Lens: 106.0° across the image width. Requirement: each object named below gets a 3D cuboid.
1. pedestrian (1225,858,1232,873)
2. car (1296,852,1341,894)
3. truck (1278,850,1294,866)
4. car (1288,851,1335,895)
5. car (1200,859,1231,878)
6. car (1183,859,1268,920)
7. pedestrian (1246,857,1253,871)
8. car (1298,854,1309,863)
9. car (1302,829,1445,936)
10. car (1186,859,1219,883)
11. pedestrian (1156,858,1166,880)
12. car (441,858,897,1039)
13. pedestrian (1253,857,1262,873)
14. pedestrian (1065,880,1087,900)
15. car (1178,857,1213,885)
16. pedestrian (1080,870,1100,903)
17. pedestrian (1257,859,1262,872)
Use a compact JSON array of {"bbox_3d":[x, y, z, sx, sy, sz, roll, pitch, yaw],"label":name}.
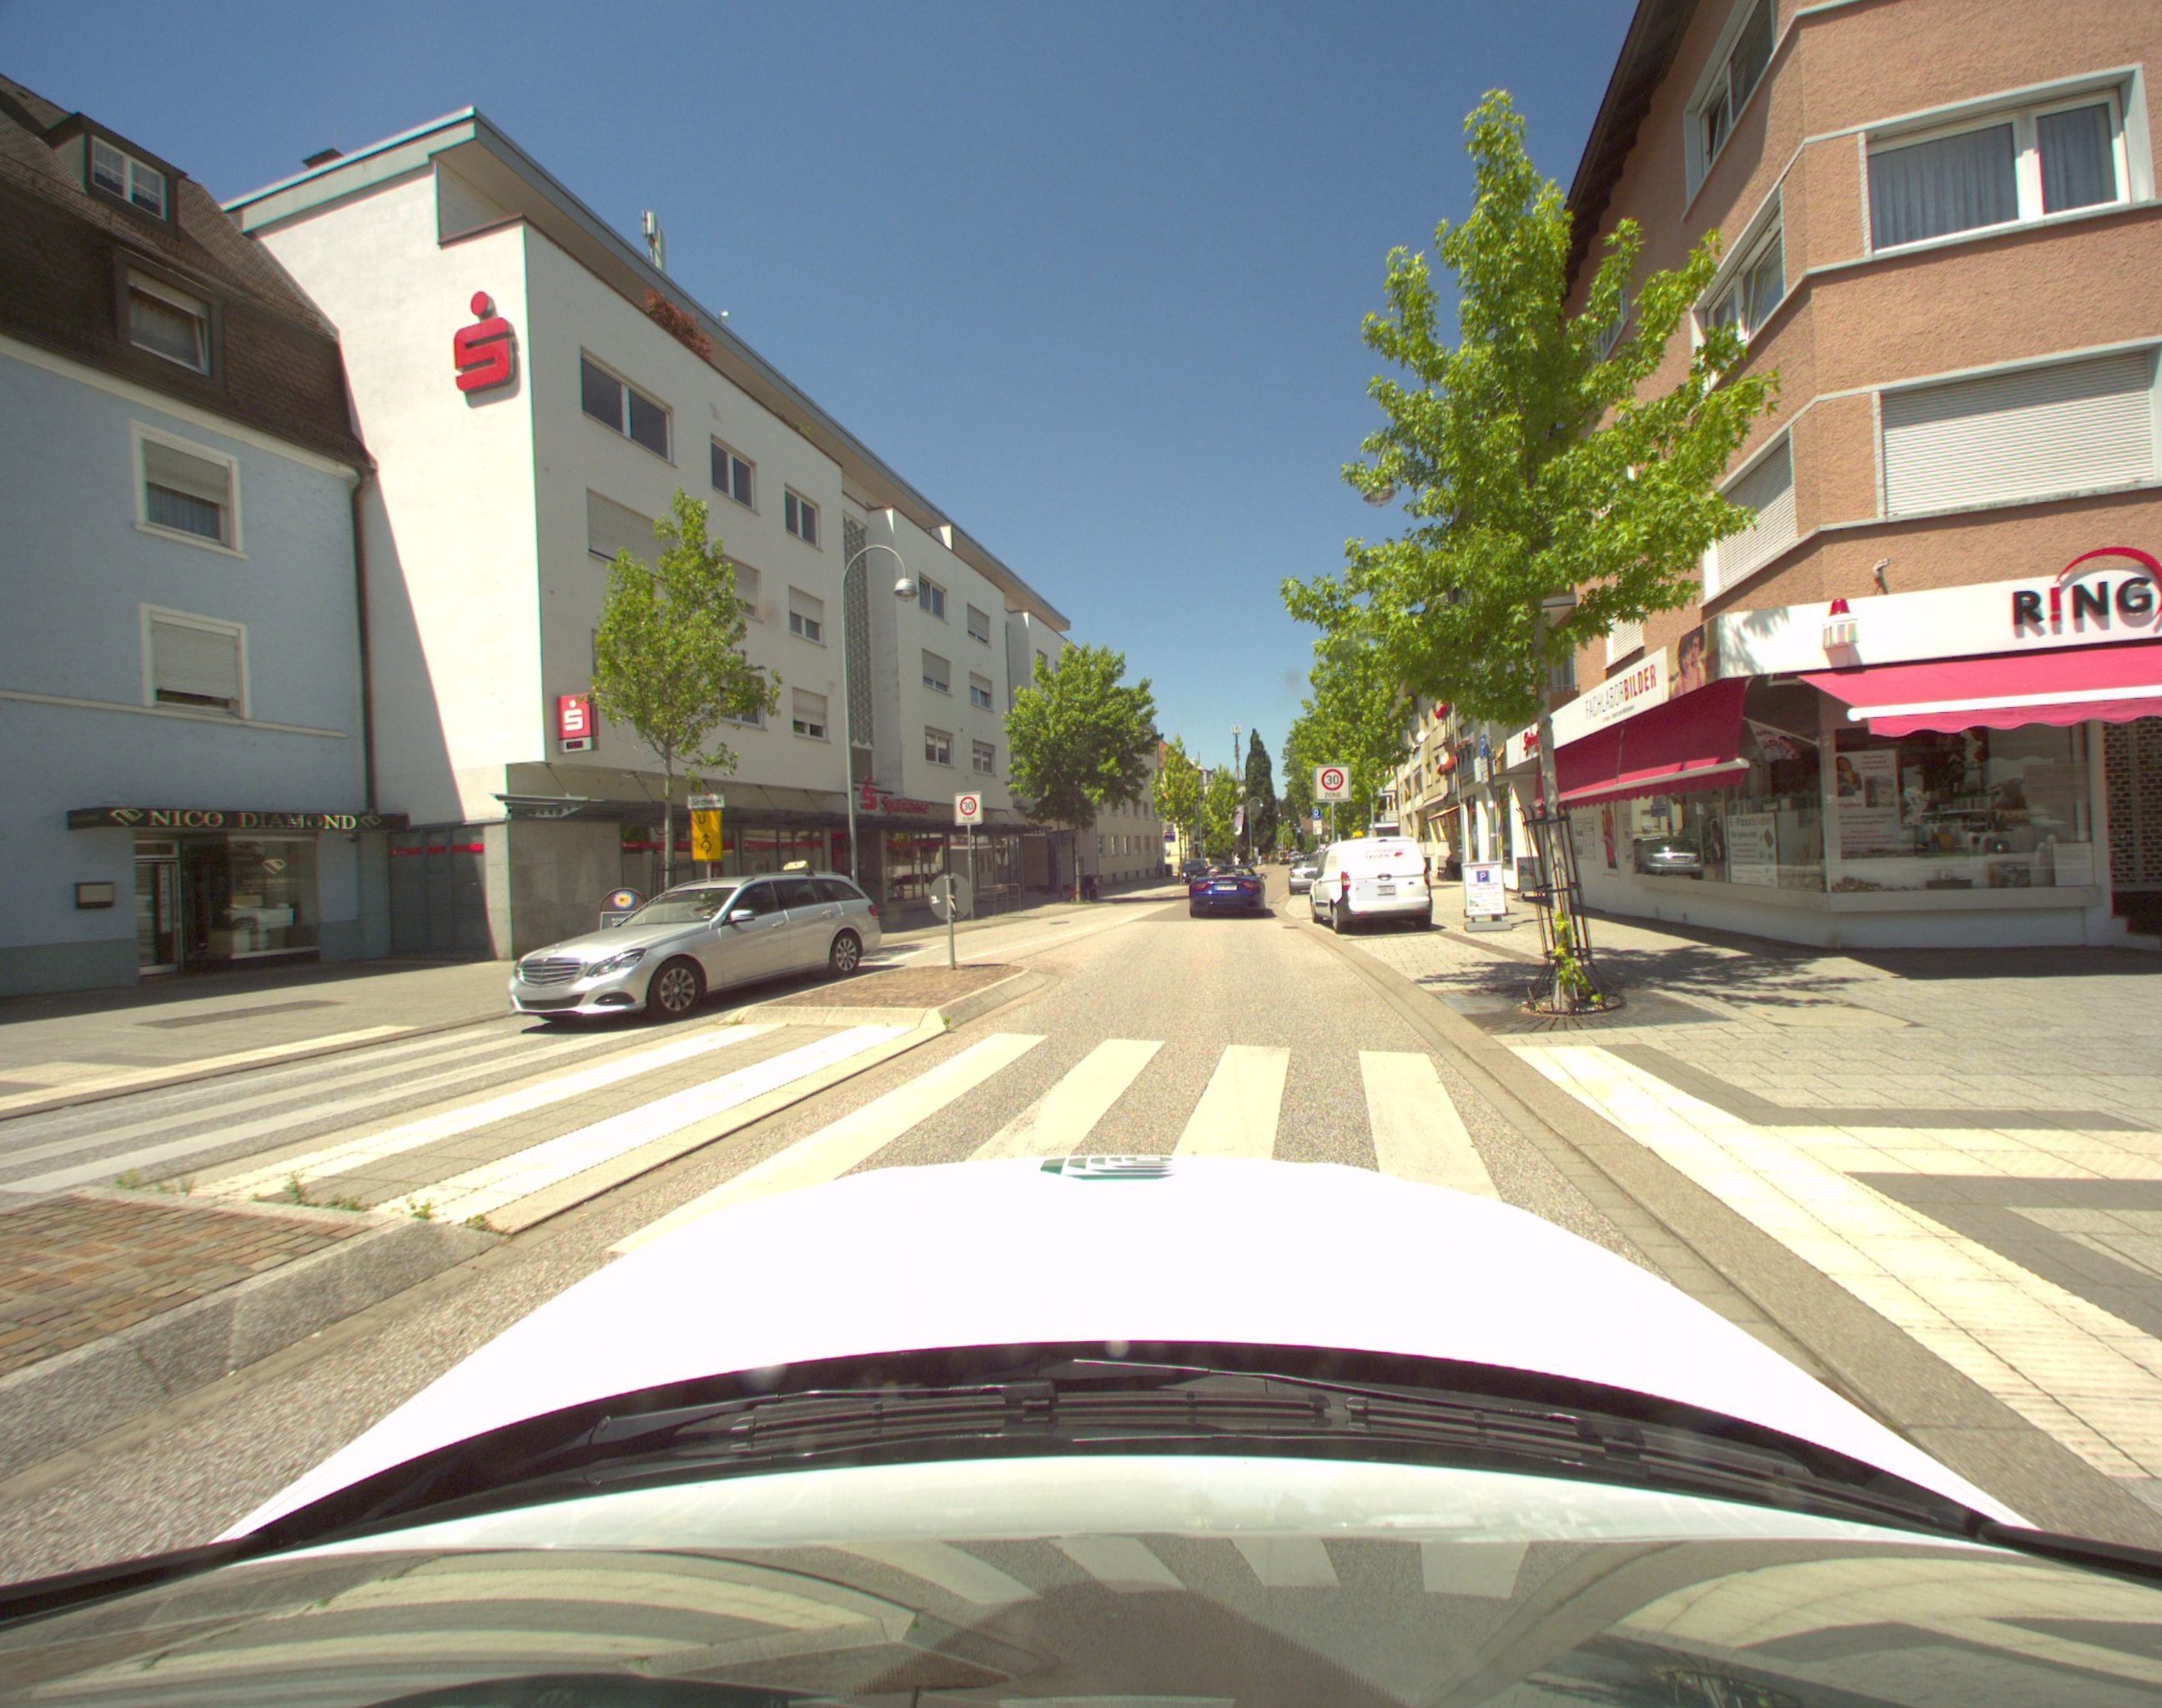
[{"bbox_3d":[15.244,1.211,84.191,0.574,1.474,0.567,-3,-1,16],"label":"pedestrian"},{"bbox_3d":[10.906,0.809,37.182,1.750,1.706,4.727,-4,-1,18],"label":"car"},{"bbox_3d":[29.423,0.519,116.696,1.790,2.117,4.737,-4,-1,18],"label":"truck"},{"bbox_3d":[9.253,0.722,32.536,1.609,1.559,3.858,-4,-1,17],"label":"car"},{"bbox_3d":[11.053,1.173,66.886,1.739,1.474,4.343,-1,0,20],"label":"car"},{"bbox_3d":[3.853,0.867,21.724,1.964,1.398,4.640,-1,0,10],"label":"car"},{"bbox_3d":[17.842,1.029,86.167,0.574,1.474,0.567,-3,-1,16],"label":"pedestrian"},{"bbox_3d":[42.041,0.880,154.007,1.756,1.476,4.156,-4,-1,17],"label":"car"},{"bbox_3d":[5.595,0.520,16.077,1.737,1.724,3.918,-4,-1,7],"label":"car"},{"bbox_3d":[9.124,1.211,60.959,1.810,1.619,4.411,-1,0,16],"label":"car"},{"bbox_3d":[6.435,1.214,65.625,0.654,1.680,0.631,-5,1,0],"label":"pedestrian"},{"bbox_3d":[-4.607,0.955,10.218,1.977,1.592,5.024,-4,-1,20],"label":"car"},{"bbox_3d":[22.362,1.428,103.082,0.842,1.915,0.764,-4,1,16],"label":"pedestrian"},{"bbox_3d":[-0.226,1.620,36.212,0.658,0.858,0.737,-4,-5,26],"label":"pedestrian"},{"bbox_3d":[7.841,1.129,55.449,1.715,1.740,4.411,0,0,16],"label":"car"},{"bbox_3d":[0.388,1.400,34.938,0.562,1.372,0.671,-4,-2,26],"label":"pedestrian"},{"bbox_3d":[22.569,1.424,102.933,0.582,1.574,0.785,-3,-1,17],"label":"pedestrian"}]
